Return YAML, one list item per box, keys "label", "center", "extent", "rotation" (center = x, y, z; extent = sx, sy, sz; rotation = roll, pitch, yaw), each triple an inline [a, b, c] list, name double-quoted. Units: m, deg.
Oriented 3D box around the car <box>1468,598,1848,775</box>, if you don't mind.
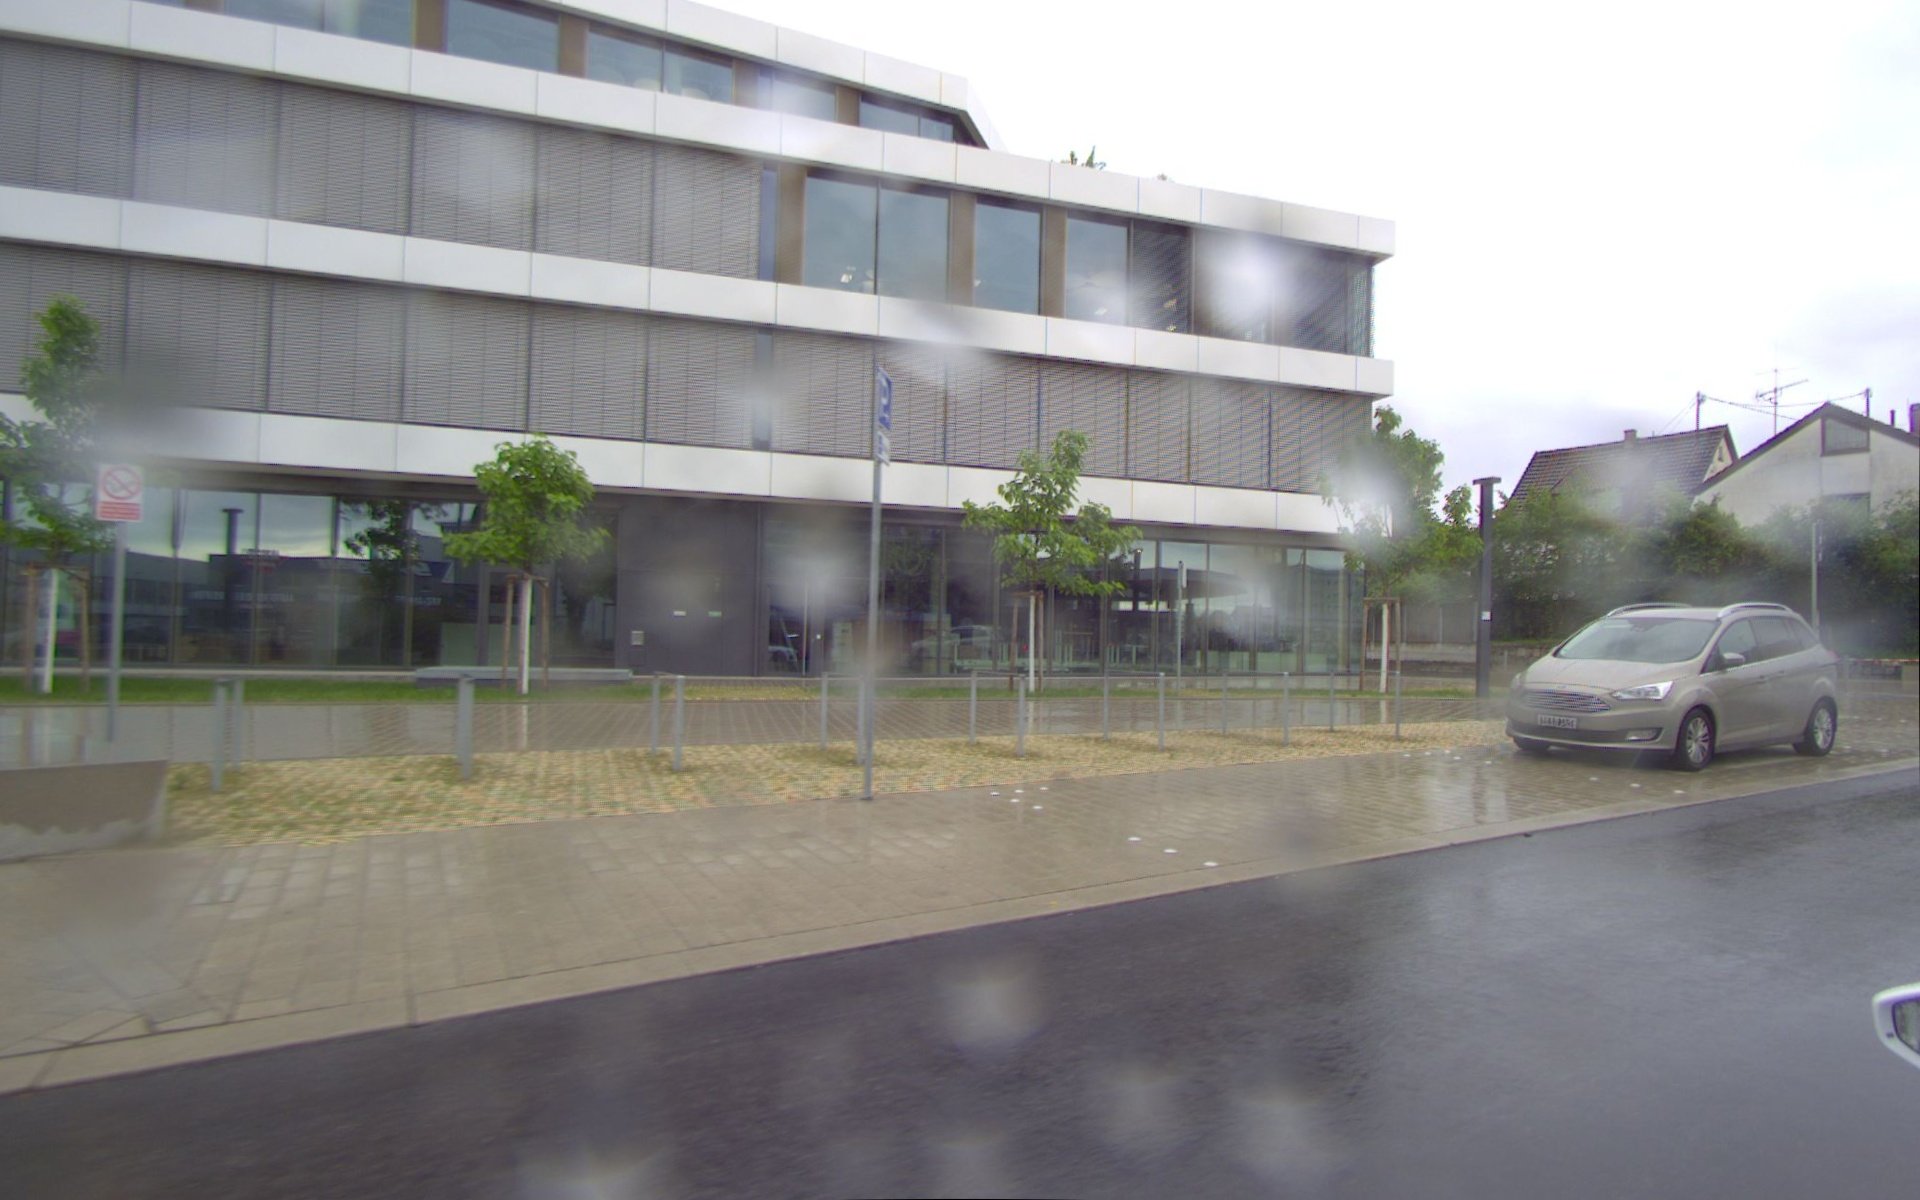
- label: "car"
  center: [7.863, 0.868, 11.271]
  extent: [4.104, 1.650, 1.984]
  rotation: [1, -2, -30]
